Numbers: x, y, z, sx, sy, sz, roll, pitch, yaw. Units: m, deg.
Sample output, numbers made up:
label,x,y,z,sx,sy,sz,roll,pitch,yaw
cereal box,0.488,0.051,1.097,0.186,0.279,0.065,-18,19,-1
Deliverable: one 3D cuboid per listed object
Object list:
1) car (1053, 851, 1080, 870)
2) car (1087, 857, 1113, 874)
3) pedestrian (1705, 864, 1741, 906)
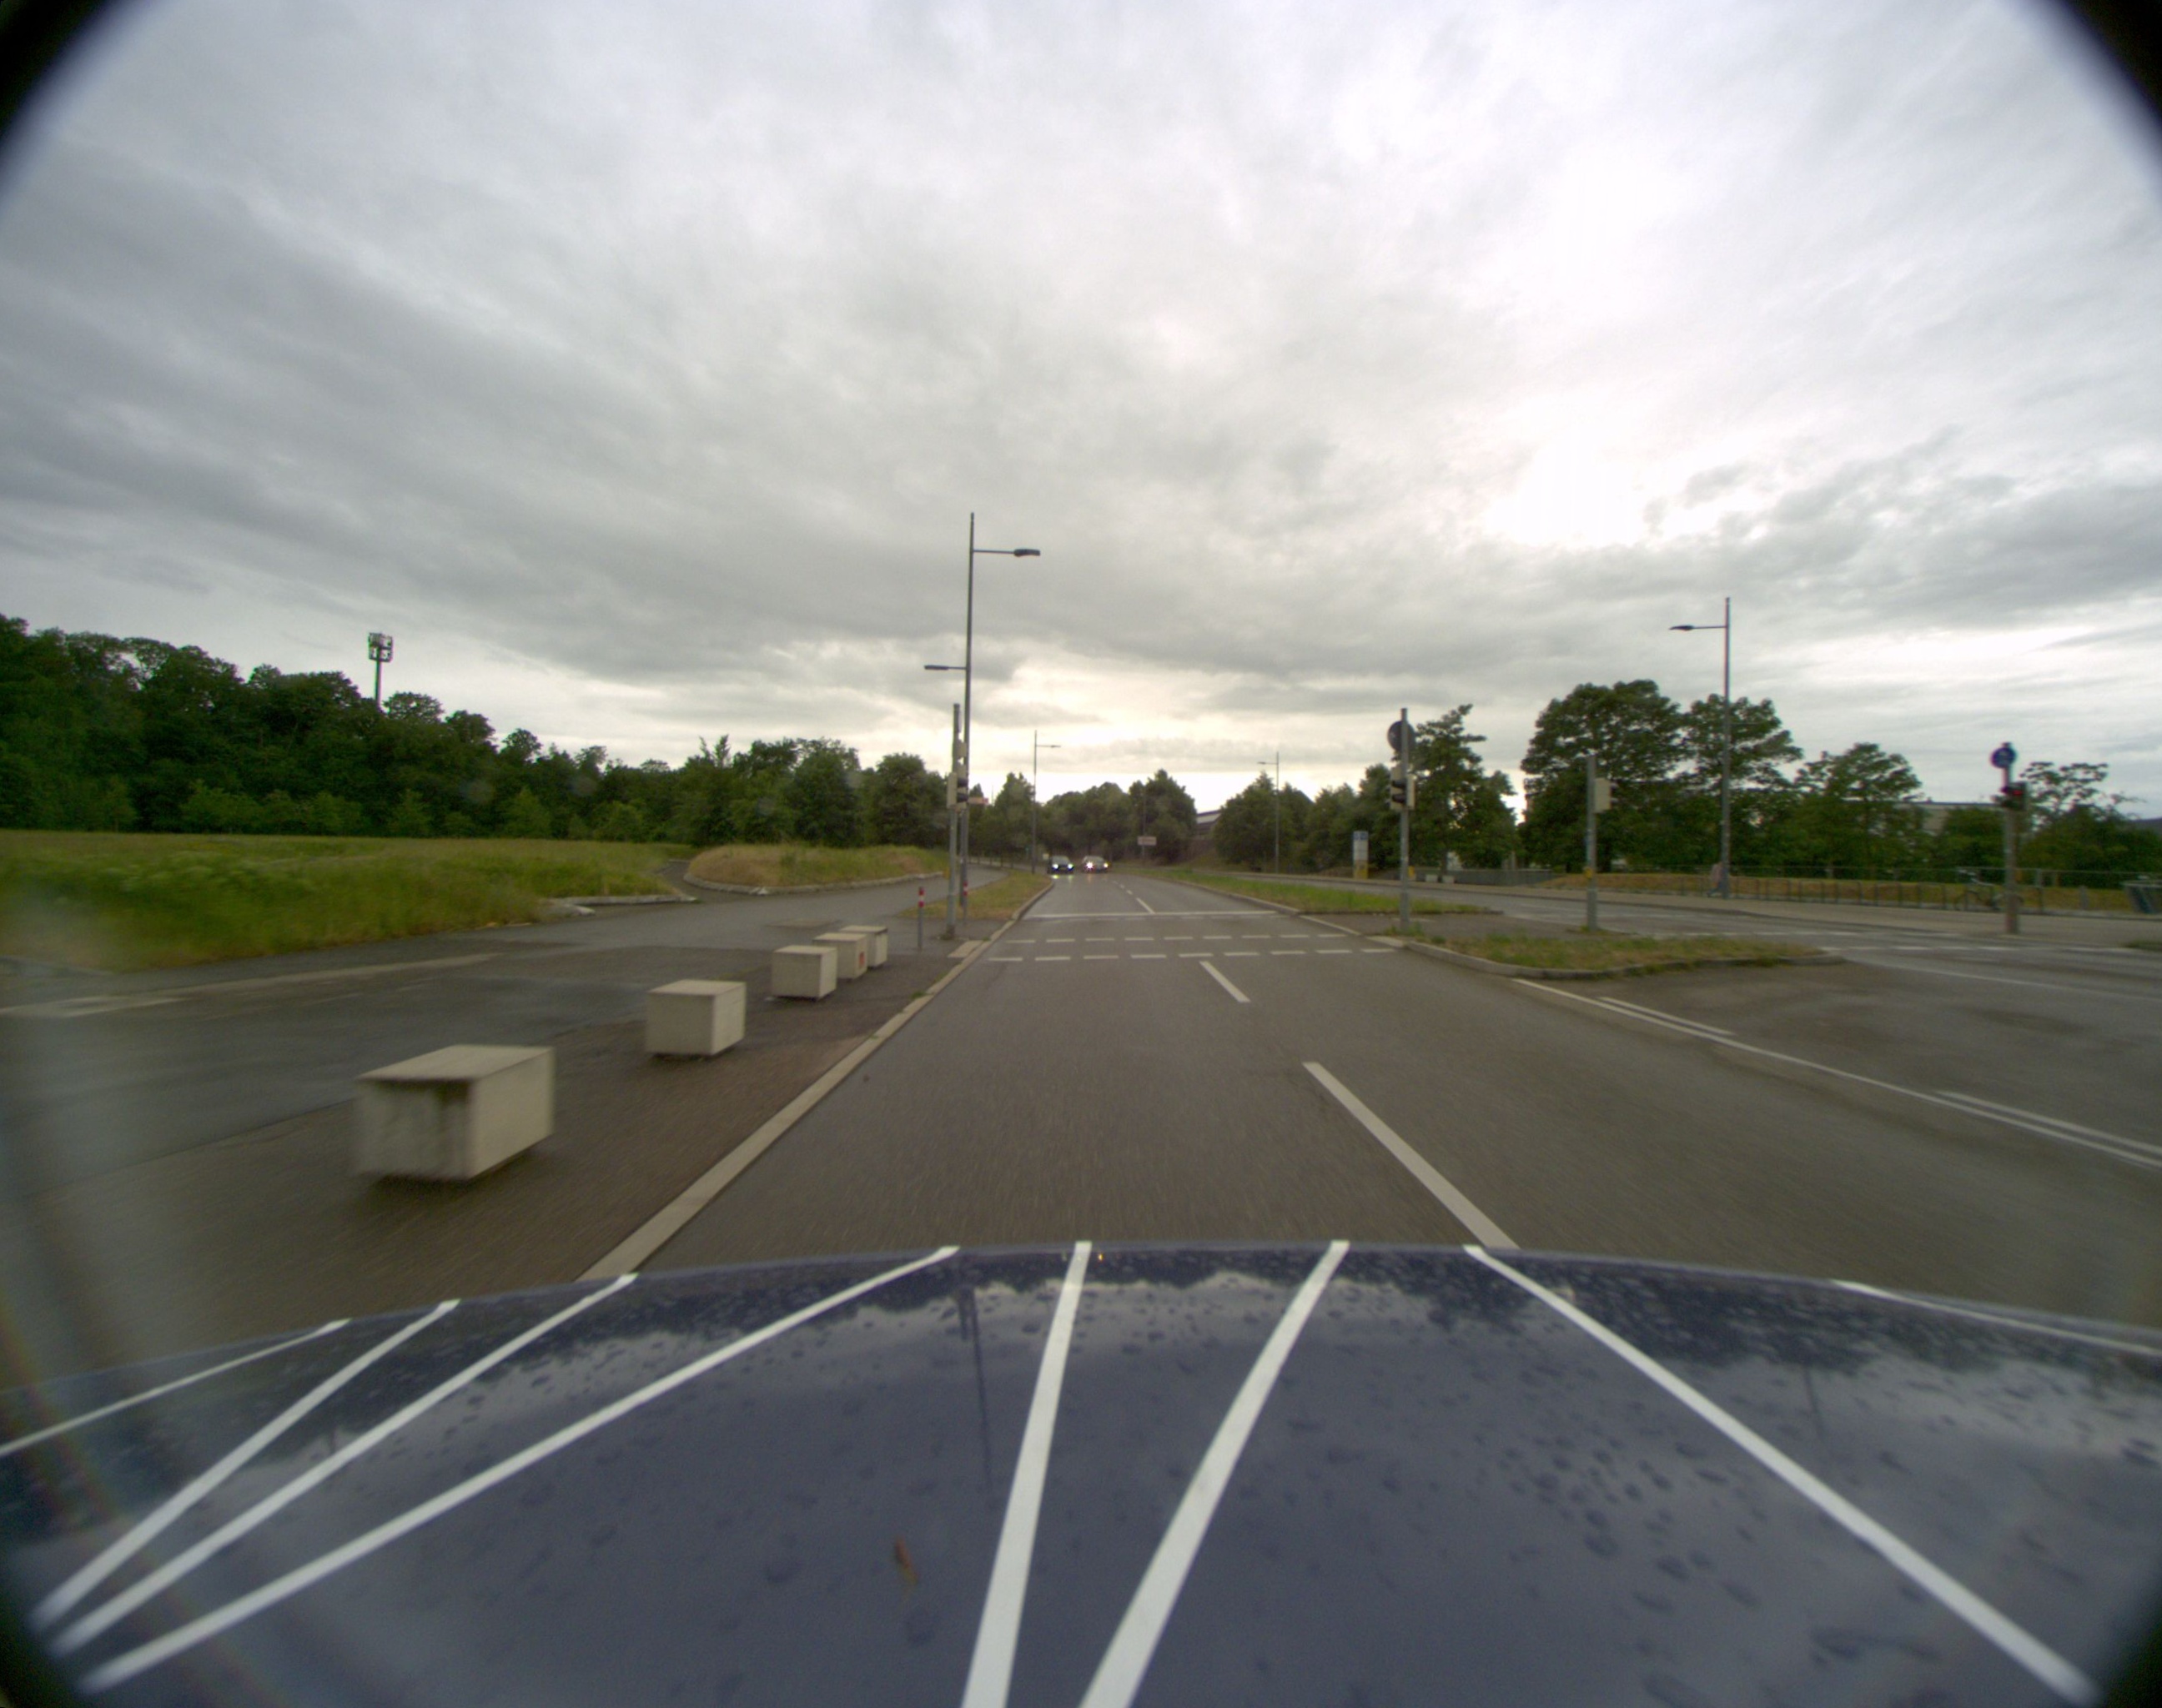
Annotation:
label,x,y,z,sx,sy,sz,roll,pitch,yaw
car,-1.227,0.572,61.873,1.990,1.390,4.176,1,-2,-4
car,1.572,1.002,64.586,1.811,1.421,4.196,0,-1,-5
pedestrian,24.429,1.185,28.913,0.616,1.584,0.813,1,-2,-4
